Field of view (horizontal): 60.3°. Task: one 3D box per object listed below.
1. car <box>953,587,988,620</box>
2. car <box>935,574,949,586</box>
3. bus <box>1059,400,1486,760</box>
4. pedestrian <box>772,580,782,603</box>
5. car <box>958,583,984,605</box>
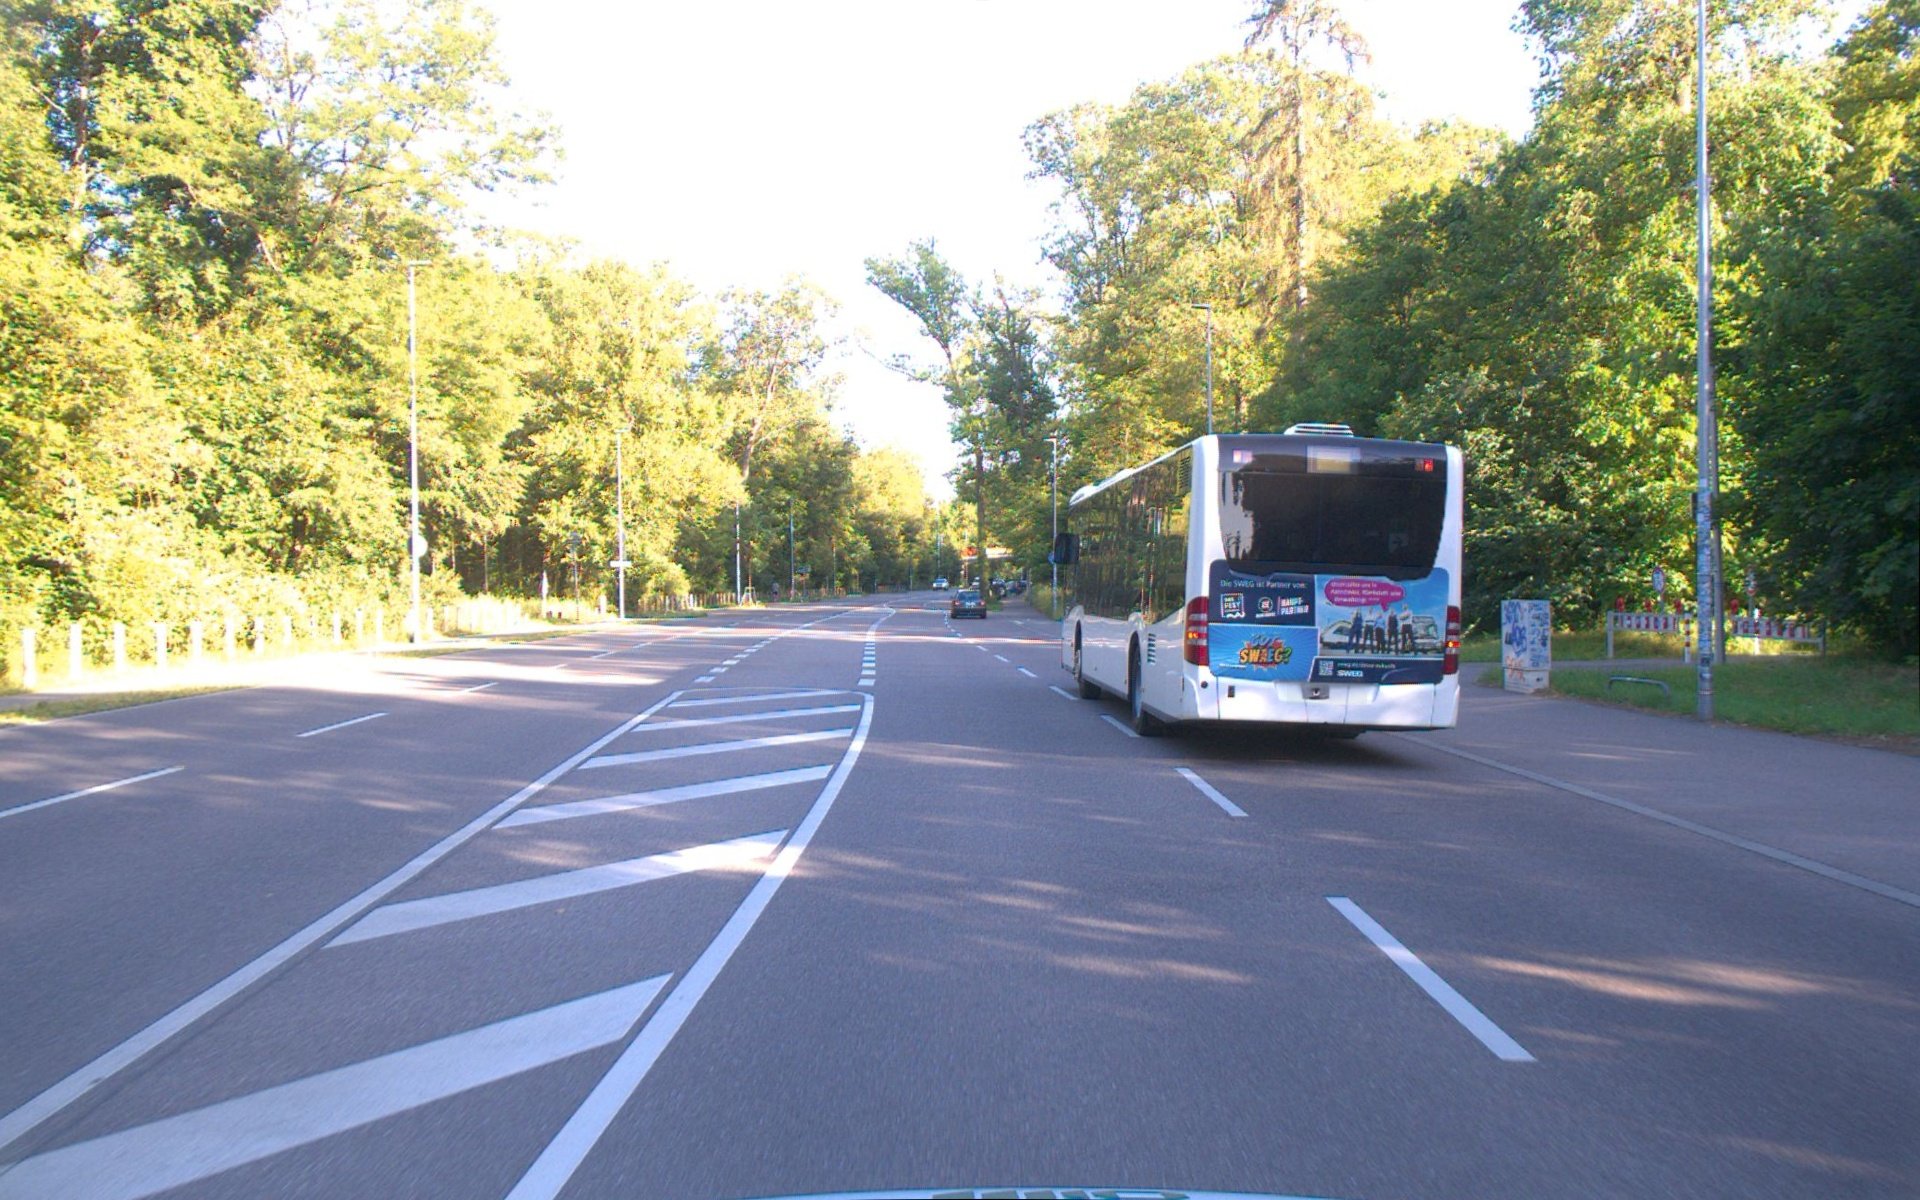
[{"bbox_3d":[0.559,0.145,82.490,1.598,1.574,4.133,1,0,2],"label":"car"},{"bbox_3d":[-2.482,-2.792,228.436,1.824,1.564,4.133,1,0,2],"label":"car"},{"bbox_3d":[3.072,-0.193,20.335,2.635,3.096,12.037,1,0,-2],"label":"bus"},{"bbox_3d":[-14.726,-0.673,132.932,0.763,1.844,0.770,0,0,-2],"label":"pedestrian"},{"bbox_3d":[0.905,-0.482,134.198,1.597,1.687,4.135,1,0,8],"label":"car"}]
